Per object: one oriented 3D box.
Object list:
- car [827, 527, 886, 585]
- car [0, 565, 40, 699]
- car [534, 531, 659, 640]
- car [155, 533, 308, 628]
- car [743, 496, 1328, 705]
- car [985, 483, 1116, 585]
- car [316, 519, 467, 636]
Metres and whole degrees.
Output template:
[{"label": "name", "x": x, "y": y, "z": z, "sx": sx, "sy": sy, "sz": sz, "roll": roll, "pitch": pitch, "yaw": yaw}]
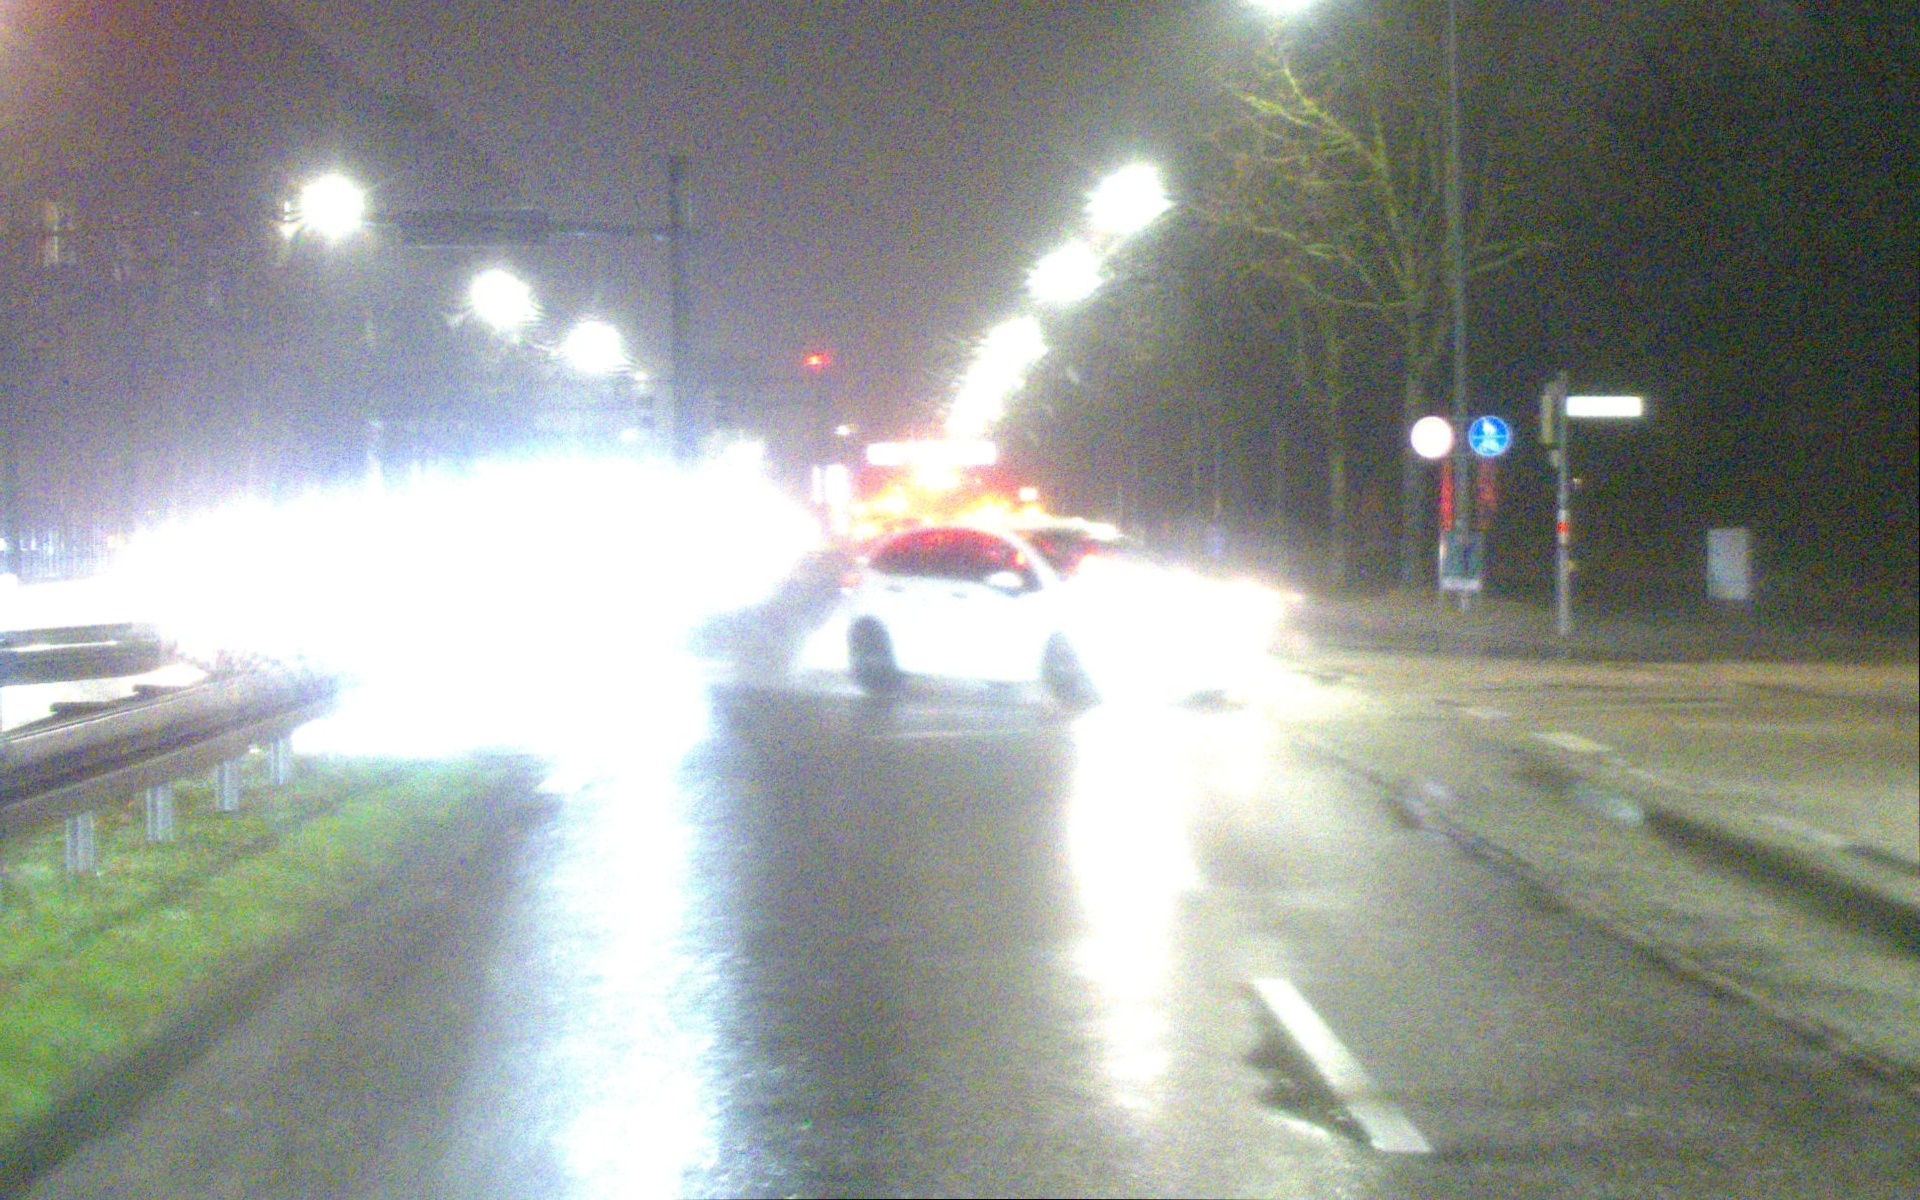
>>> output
[{"label": "car", "x": -3.632, "y": -1.527, "z": 120.808, "sx": 1.993, "sy": 2.007, "sz": 4.000, "roll": 0, "pitch": 0, "yaw": -1}, {"label": "car", "x": -12.062, "y": 0.373, "z": 39.431, "sx": 1.885, "sy": 1.547, "sz": 4.433, "roll": 0, "pitch": 0, "yaw": -1}, {"label": "car", "x": -6.947, "y": -0.300, "z": 65.957, "sx": 1.993, "sy": 2.007, "sz": 4.000, "roll": -1, "pitch": 1, "yaw": -1}, {"label": "car", "x": -12.614, "y": -0.345, "z": 59.775, "sx": 1.770, "sy": 1.564, "sz": 4.331, "roll": -1, "pitch": 1, "yaw": -1}, {"label": "car", "x": 0.542, "y": -0.014, "z": 28.914, "sx": 1.995, "sy": 1.604, "sz": 4.967, "roll": 0, "pitch": 0, "yaw": -44}, {"label": "car", "x": 1.592, "y": -1.153, "z": 61.625, "sx": 1.902, "sy": 1.774, "sz": 4.001, "roll": 0, "pitch": 0, "yaw": -5}, {"label": "car", "x": -9.215, "y": -0.368, "z": 56.001, "sx": 1.783, "sy": 1.809, "sz": 4.000, "roll": -1, "pitch": 1, "yaw": 0}]
